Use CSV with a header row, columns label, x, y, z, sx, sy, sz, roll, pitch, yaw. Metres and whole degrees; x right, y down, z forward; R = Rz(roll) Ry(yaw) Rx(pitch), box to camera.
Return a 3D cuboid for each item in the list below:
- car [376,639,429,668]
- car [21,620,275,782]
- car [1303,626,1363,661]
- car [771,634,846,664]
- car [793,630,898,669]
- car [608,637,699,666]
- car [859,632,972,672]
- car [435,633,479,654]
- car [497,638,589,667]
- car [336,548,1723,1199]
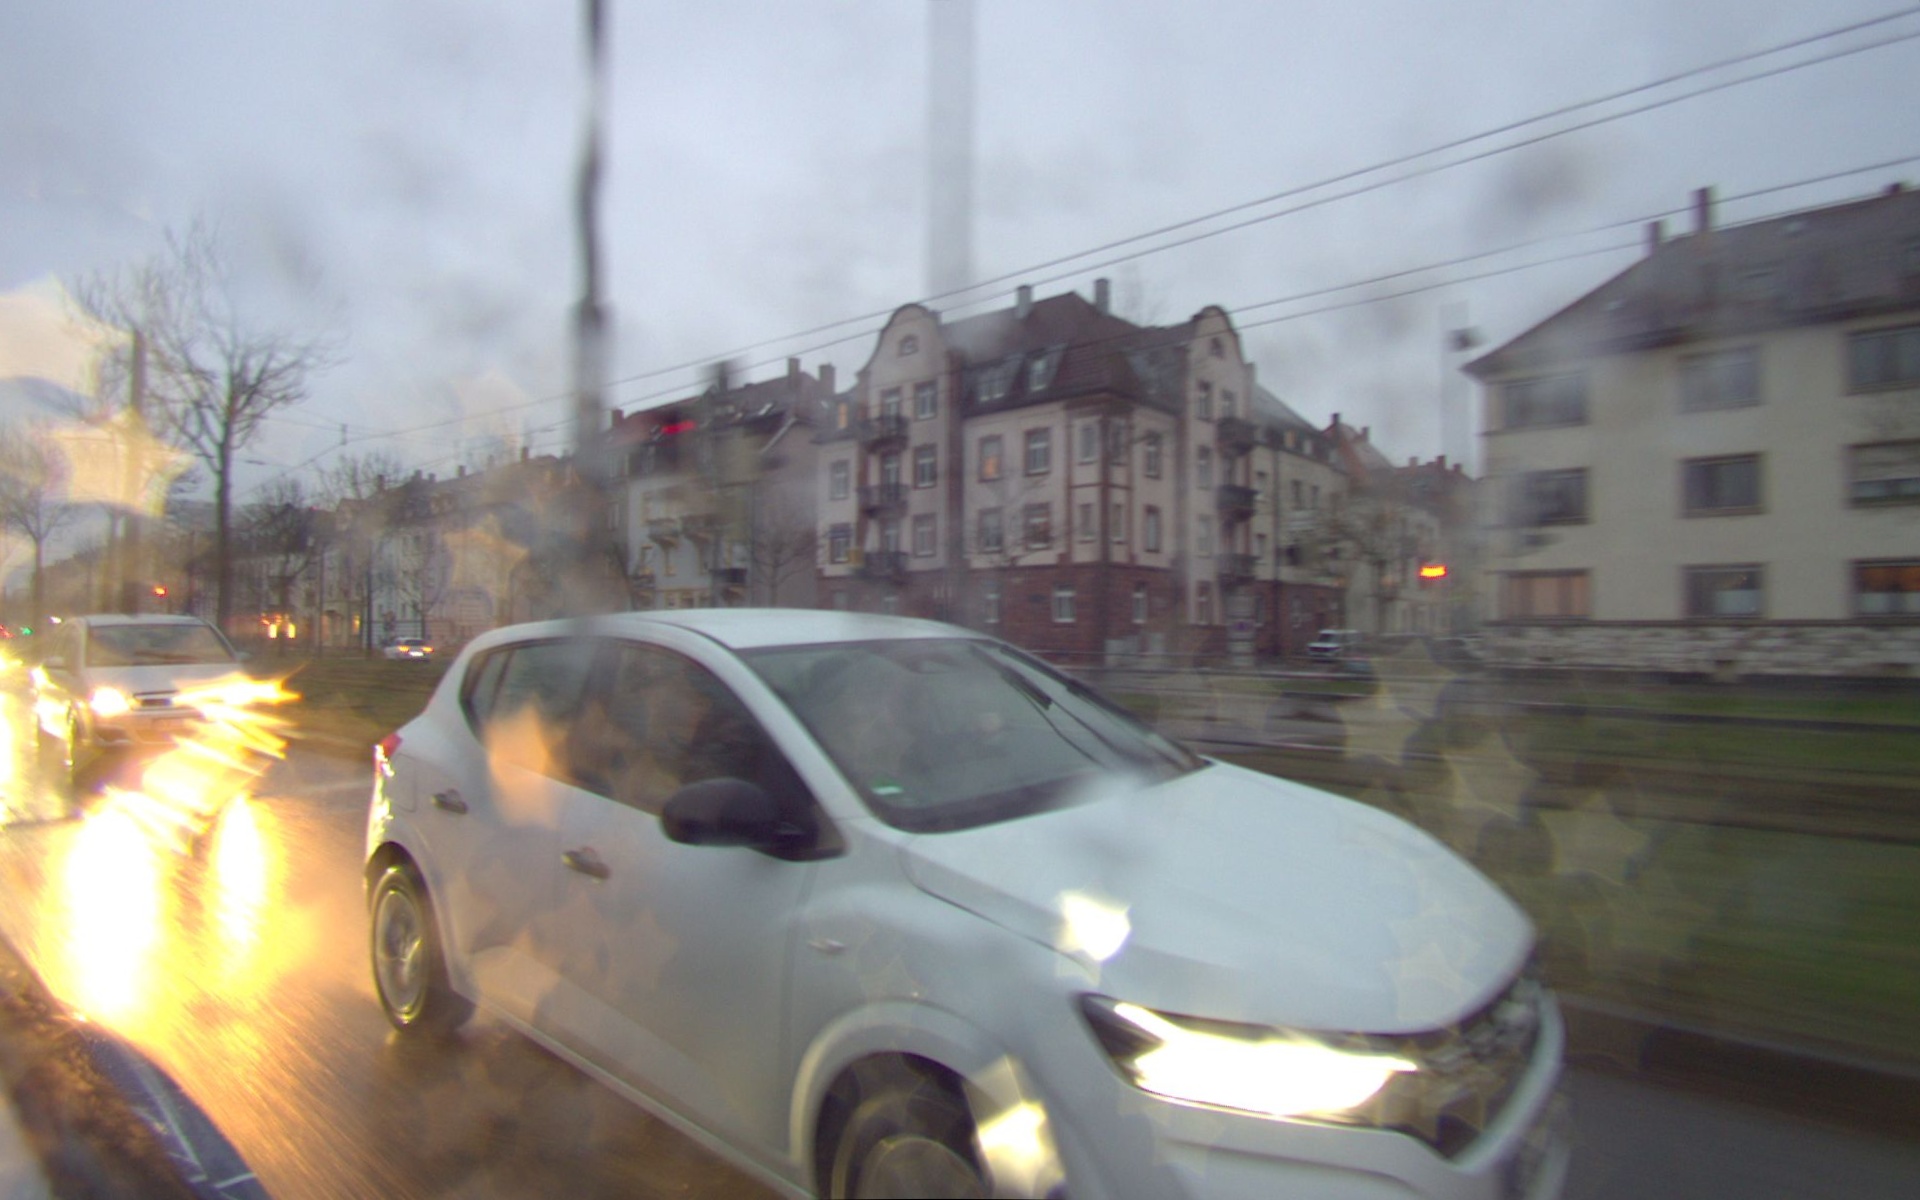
label,x,y,z,sx,sy,sz,roll,pitch,yaw
car,-31.957,3.029,58.003,3.782,1.516,1.529,-2,-1,42
car,-9.451,1.026,11.672,3.905,1.531,1.617,-2,-1,41
car,20.235,2.339,54.814,1.803,1.721,3.656,-2,-1,42
car,-6.362,2.037,42.353,2.870,0.997,1.800,-3,2,-14
car,-4.548,1.959,40.077,3.978,1.239,1.352,-3,2,-12
car,-15.447,2.585,51.150,4.198,1.267,1.836,-1,-1,-8
car,-1.700,1.950,38.252,4.039,1.169,1.716,-2,2,-10
car,-34.498,2.986,69.384,3.911,1.350,1.449,-2,-1,44
car,-23.558,2.944,57.361,4.586,1.443,1.698,-1,-1,-12
car,-0.262,0.719,3.069,3.999,1.485,1.671,-2,-1,41
